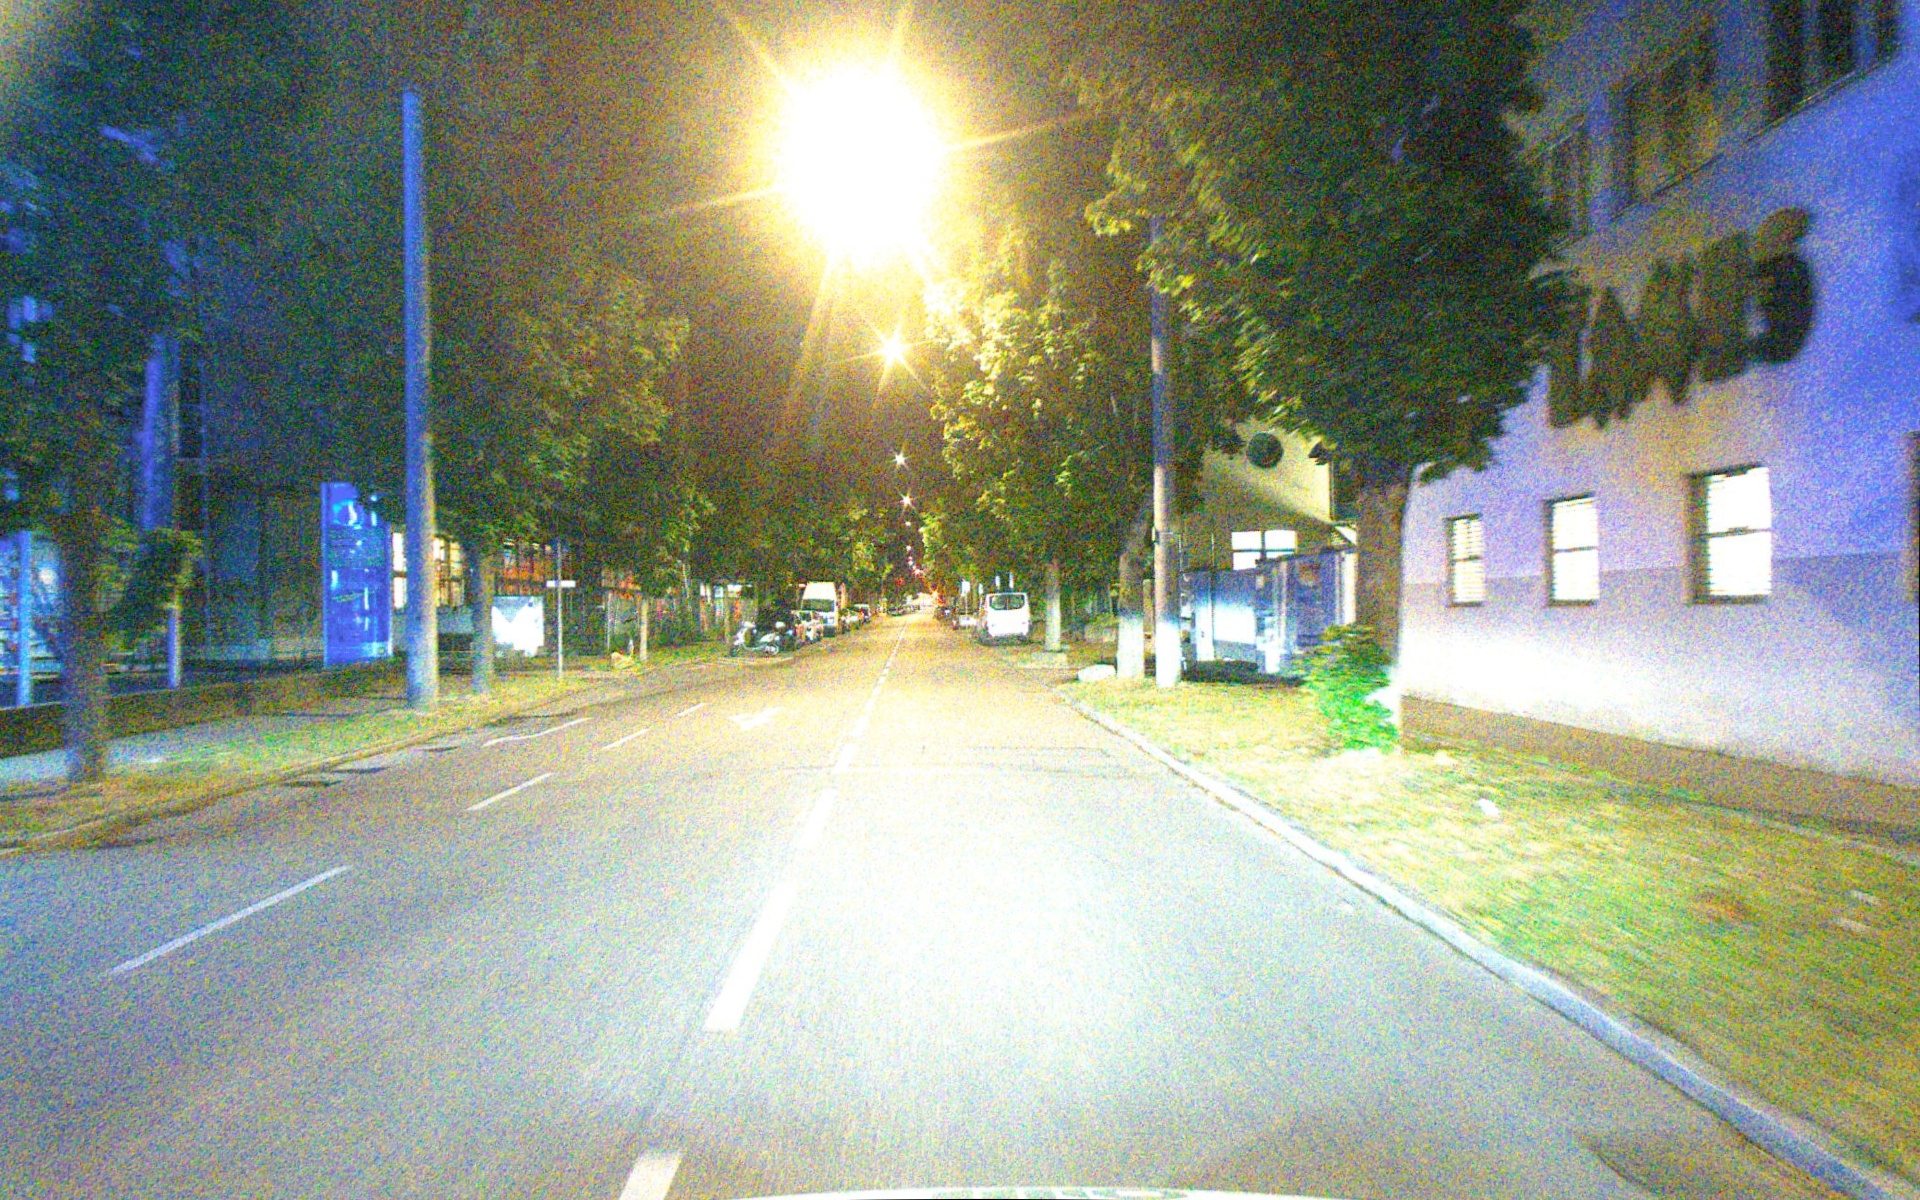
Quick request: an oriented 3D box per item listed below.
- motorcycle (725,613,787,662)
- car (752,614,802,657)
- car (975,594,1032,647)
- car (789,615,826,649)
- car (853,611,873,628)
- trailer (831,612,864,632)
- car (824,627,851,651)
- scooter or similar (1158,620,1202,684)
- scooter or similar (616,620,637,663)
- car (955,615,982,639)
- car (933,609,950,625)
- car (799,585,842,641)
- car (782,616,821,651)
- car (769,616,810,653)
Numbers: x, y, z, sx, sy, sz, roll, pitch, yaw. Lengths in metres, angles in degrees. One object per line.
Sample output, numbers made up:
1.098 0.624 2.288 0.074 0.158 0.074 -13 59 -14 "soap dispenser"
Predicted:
-6.637 1.223 53.827 1.875 1.577 0.635 1 -1 -21 "motorcycle"
-6.961 1.330 63.236 1.609 1.531 3.902 1 0 -2 "car"
1.689 0.800 65.441 1.912 1.998 4.600 0 0 -3 "car"
-7.270 1.513 79.157 1.613 1.531 3.858 2 -1 -3 "car"
-9.242 1.863 157.869 1.665 1.458 3.828 2 0 0 "car"
-8.168 1.581 120.582 2.067 1.358 5.434 1 -1 0 "trailer"
-8.329 2.631 112.794 1.682 1.528 4.203 2 0 -2 "car"
4.313 1.040 32.516 0.536 1.224 1.910 0 -3 -2 "scooter or similar"
-9.715 1.191 48.197 0.359 1.225 1.427 -1 -1 -1 "scooter or similar"
0.570 1.756 107.651 1.634 1.454 4.148 -3 0 1 "car"
-2.034 1.856 178.290 1.815 1.683 4.208 0 0 -1 "car"
-7.656 0.711 91.094 2.135 2.960 4.907 0 0 -2 "car"
-7.104 1.495 74.330 1.516 1.481 3.366 1 0 -2 "car"
-7.074 1.399 68.785 1.416 1.454 3.902 2 0 -2 "car"
